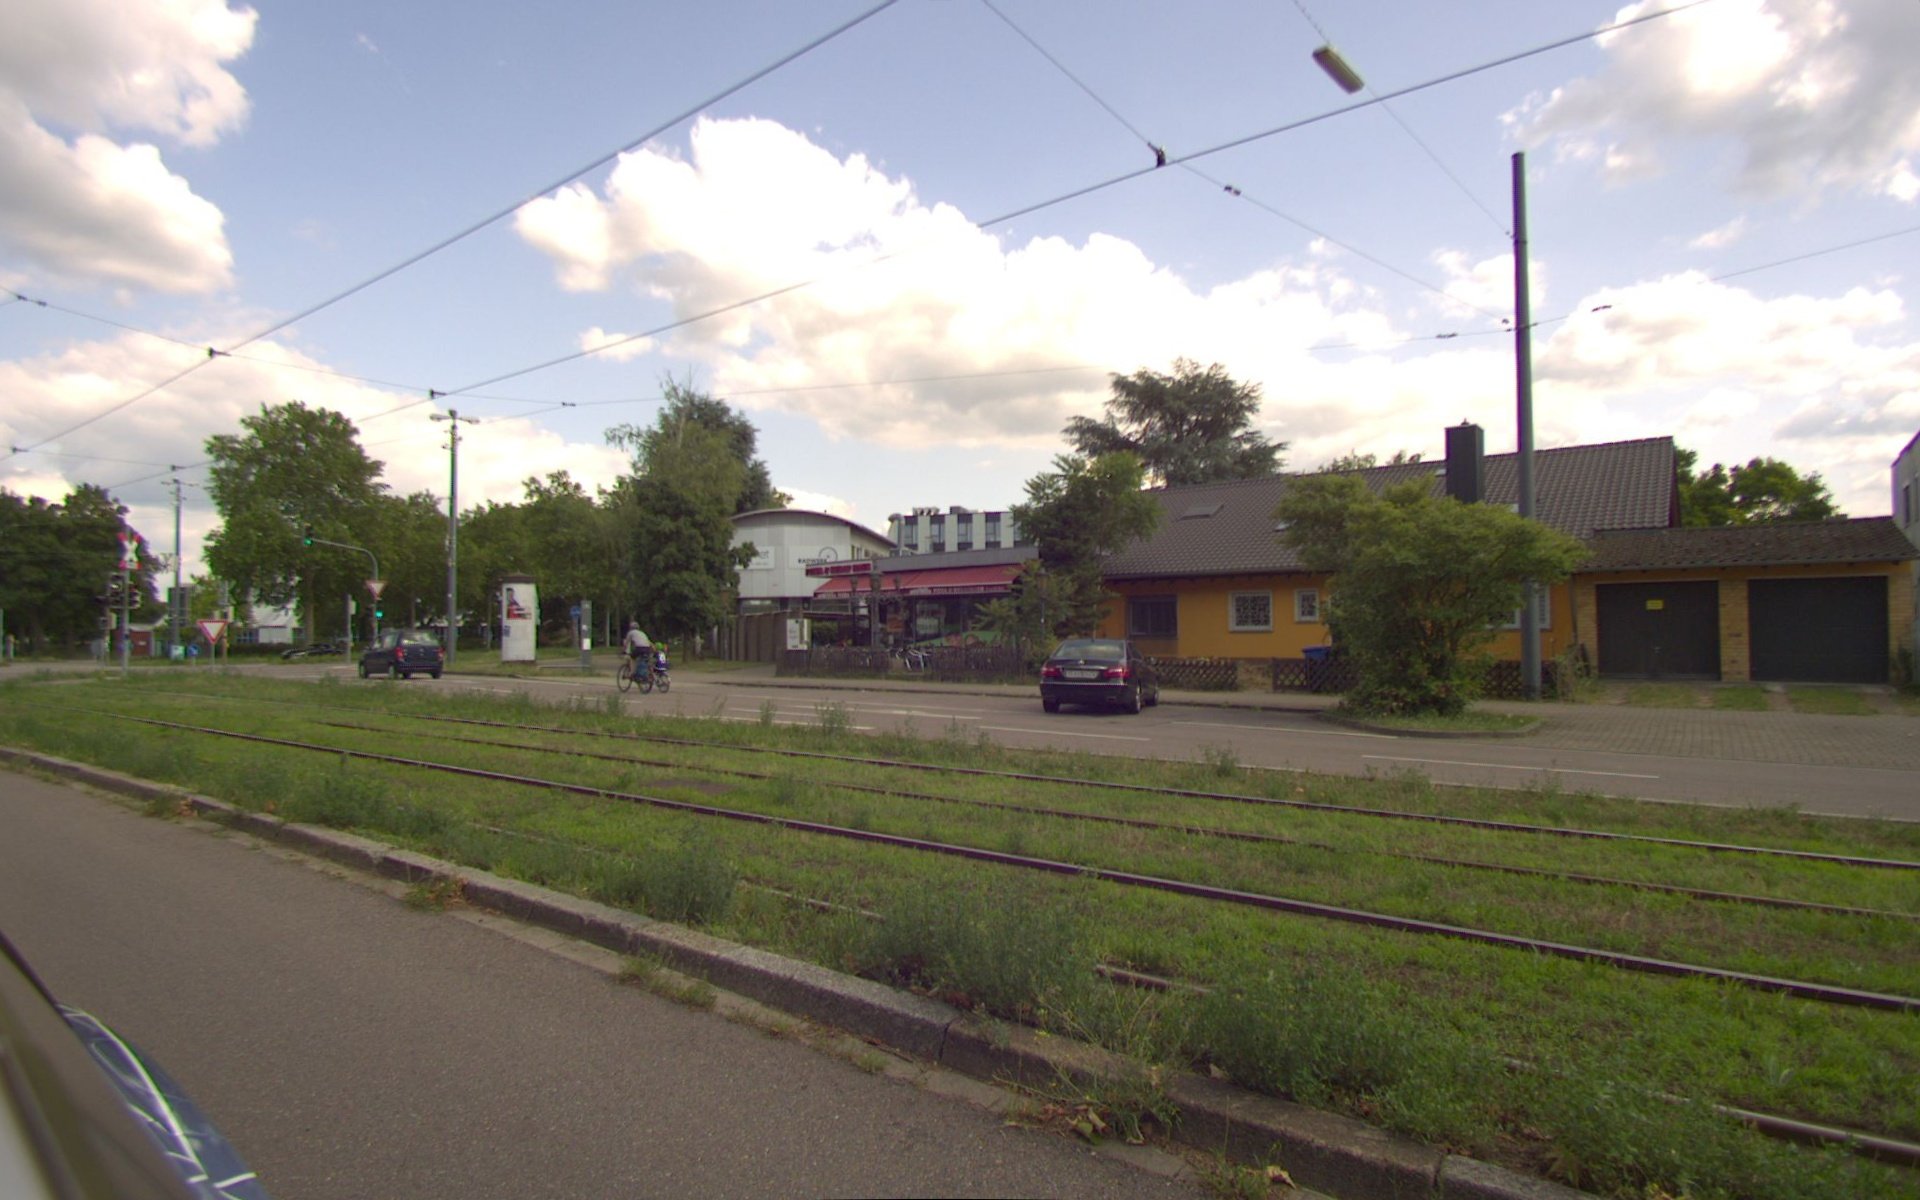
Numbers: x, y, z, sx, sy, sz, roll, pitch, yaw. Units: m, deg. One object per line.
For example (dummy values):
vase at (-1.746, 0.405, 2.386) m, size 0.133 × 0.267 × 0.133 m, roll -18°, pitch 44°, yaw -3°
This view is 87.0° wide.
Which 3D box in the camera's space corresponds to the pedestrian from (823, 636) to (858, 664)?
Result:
pedestrian at (-5.034, 2.102, 42.519) m, size 0.931 × 1.155 × 1.141 m, roll -2°, pitch -3°, yaw 39°

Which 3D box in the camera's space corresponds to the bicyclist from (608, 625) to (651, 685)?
bicyclist at (-8.253, 1.366, 25.269) m, size 0.928 × 1.469 × 0.616 m, roll -2°, pitch -3°, yaw 41°

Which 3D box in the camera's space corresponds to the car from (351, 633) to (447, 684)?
car at (-19.167, 1.947, 34.550) m, size 3.493 × 1.639 × 1.760 m, roll -2°, pitch -2°, yaw 41°

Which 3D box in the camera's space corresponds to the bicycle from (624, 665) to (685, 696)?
bicycle at (-7.784, 2.049, 25.781) m, size 1.804 × 0.723 × 0.639 m, roll -2°, pitch -3°, yaw 41°

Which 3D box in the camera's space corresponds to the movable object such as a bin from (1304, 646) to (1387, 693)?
movable object such as a bin at (9.458, 1.690, 24.845) m, size 1.615 × 1.101 × 1.242 m, roll -2°, pitch -3°, yaw 37°

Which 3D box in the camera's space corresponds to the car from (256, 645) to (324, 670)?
car at (-44.059, 3.741, 66.619) m, size 1.678 × 1.535 × 3.849 m, roll -1°, pitch -2°, yaw 6°

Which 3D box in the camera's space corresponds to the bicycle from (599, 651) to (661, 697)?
bicycle at (-8.247, 1.830, 25.246) m, size 1.804 × 1.088 × 0.639 m, roll -2°, pitch -3°, yaw 41°

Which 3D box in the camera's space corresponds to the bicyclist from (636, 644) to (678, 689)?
bicyclist at (-7.700, 1.681, 25.721) m, size 0.928 × 1.121 × 0.632 m, roll -2°, pitch -3°, yaw 41°

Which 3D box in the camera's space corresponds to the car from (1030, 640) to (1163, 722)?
car at (2.876, 1.533, 20.395) m, size 1.868 × 1.418 × 4.623 m, roll 0°, pitch -2°, yaw 18°

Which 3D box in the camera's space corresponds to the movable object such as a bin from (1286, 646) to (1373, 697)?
movable object such as a bin at (8.631, 1.647, 23.650) m, size 1.615 × 1.109 × 1.242 m, roll -2°, pitch -3°, yaw 37°
